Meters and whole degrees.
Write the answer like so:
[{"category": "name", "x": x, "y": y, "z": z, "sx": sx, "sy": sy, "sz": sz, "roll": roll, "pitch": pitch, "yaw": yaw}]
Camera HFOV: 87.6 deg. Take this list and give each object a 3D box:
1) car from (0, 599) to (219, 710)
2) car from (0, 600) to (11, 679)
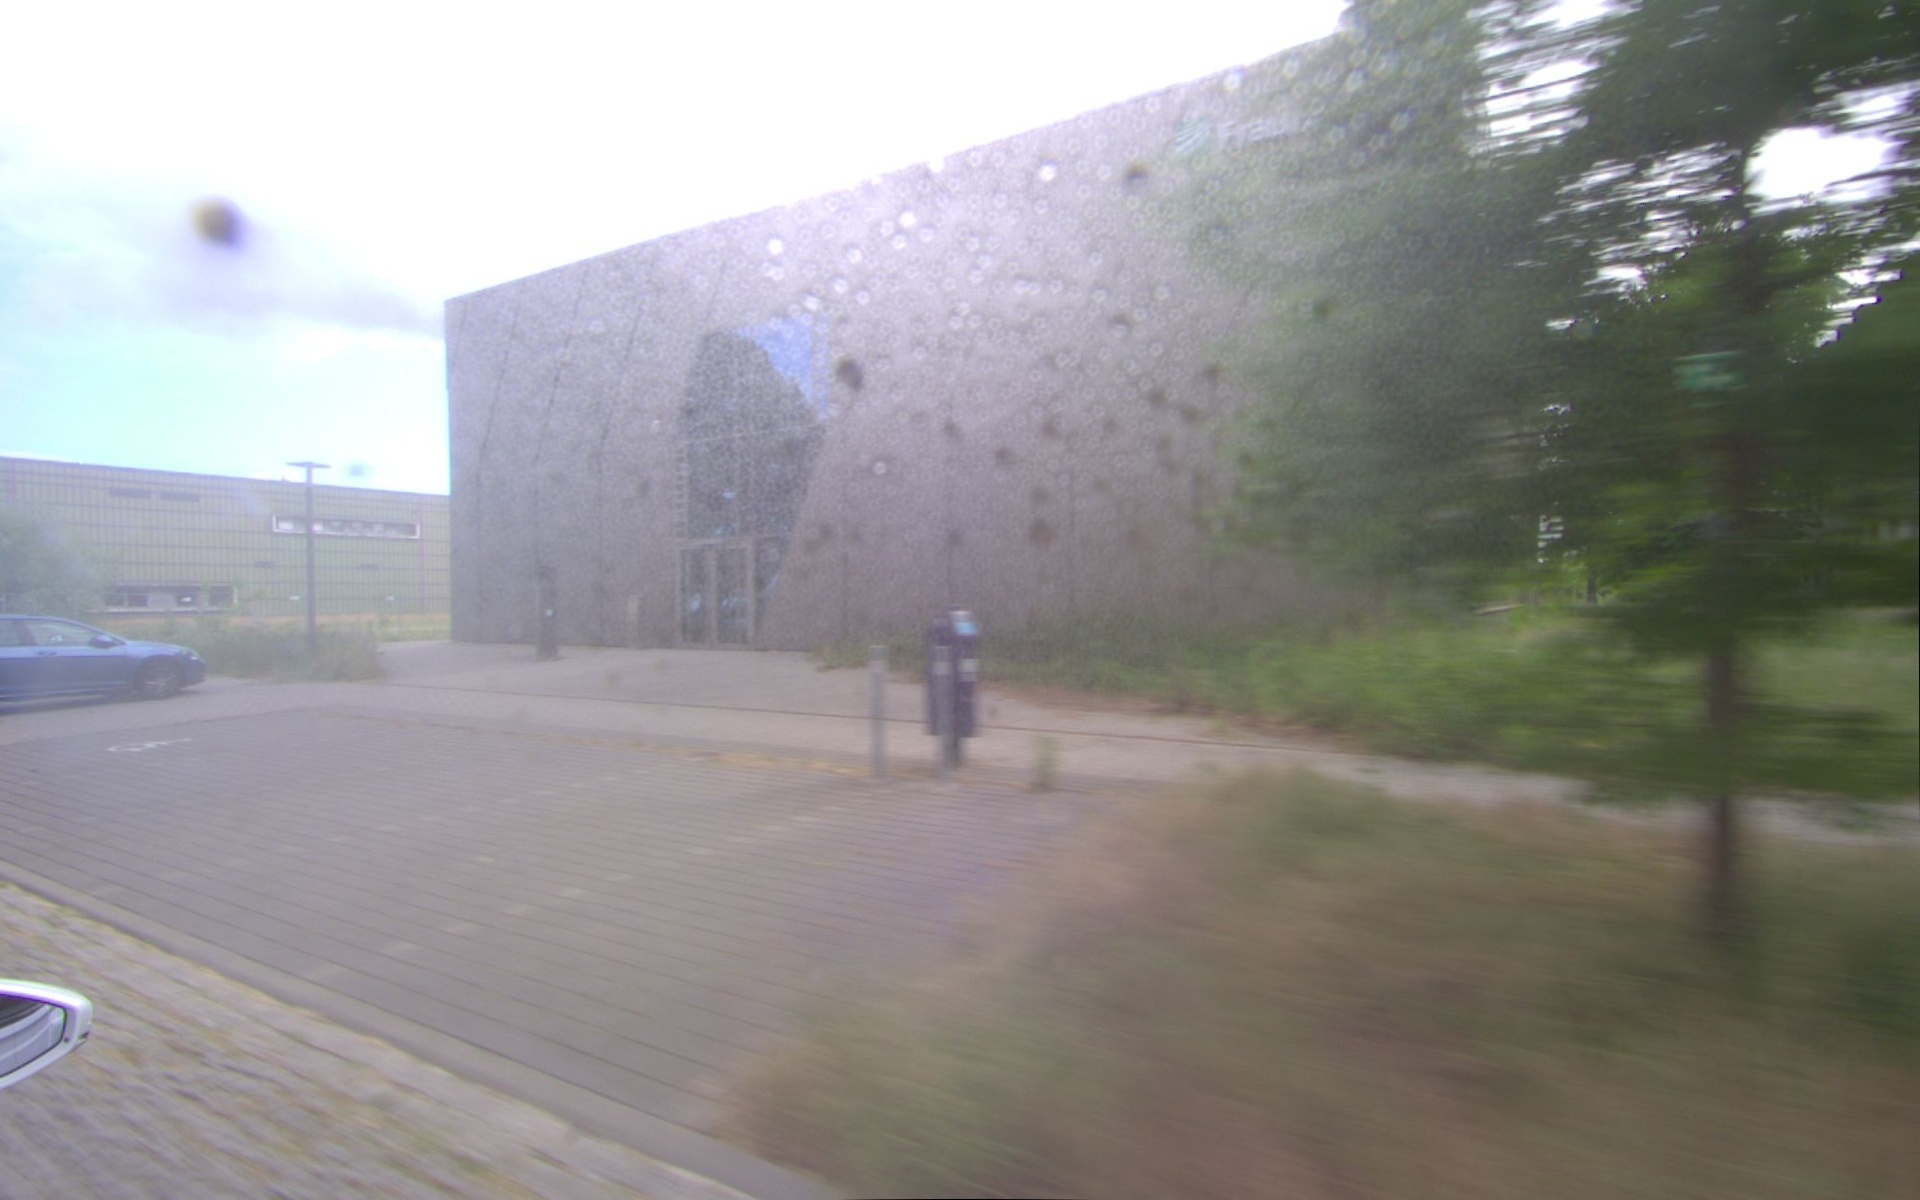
[{"category": "car", "x": -14.439, "y": 0.833, "z": 15.415, "sx": 1.803, "sy": 1.496, "sz": 4.482, "roll": 0, "pitch": 3, "yaw": 30}, {"category": "car", "x": -20.441, "y": 0.841, "z": 19.353, "sx": 1.630, "sy": 1.578, "sz": 2.702, "roll": 0, "pitch": 3, "yaw": 33}]
